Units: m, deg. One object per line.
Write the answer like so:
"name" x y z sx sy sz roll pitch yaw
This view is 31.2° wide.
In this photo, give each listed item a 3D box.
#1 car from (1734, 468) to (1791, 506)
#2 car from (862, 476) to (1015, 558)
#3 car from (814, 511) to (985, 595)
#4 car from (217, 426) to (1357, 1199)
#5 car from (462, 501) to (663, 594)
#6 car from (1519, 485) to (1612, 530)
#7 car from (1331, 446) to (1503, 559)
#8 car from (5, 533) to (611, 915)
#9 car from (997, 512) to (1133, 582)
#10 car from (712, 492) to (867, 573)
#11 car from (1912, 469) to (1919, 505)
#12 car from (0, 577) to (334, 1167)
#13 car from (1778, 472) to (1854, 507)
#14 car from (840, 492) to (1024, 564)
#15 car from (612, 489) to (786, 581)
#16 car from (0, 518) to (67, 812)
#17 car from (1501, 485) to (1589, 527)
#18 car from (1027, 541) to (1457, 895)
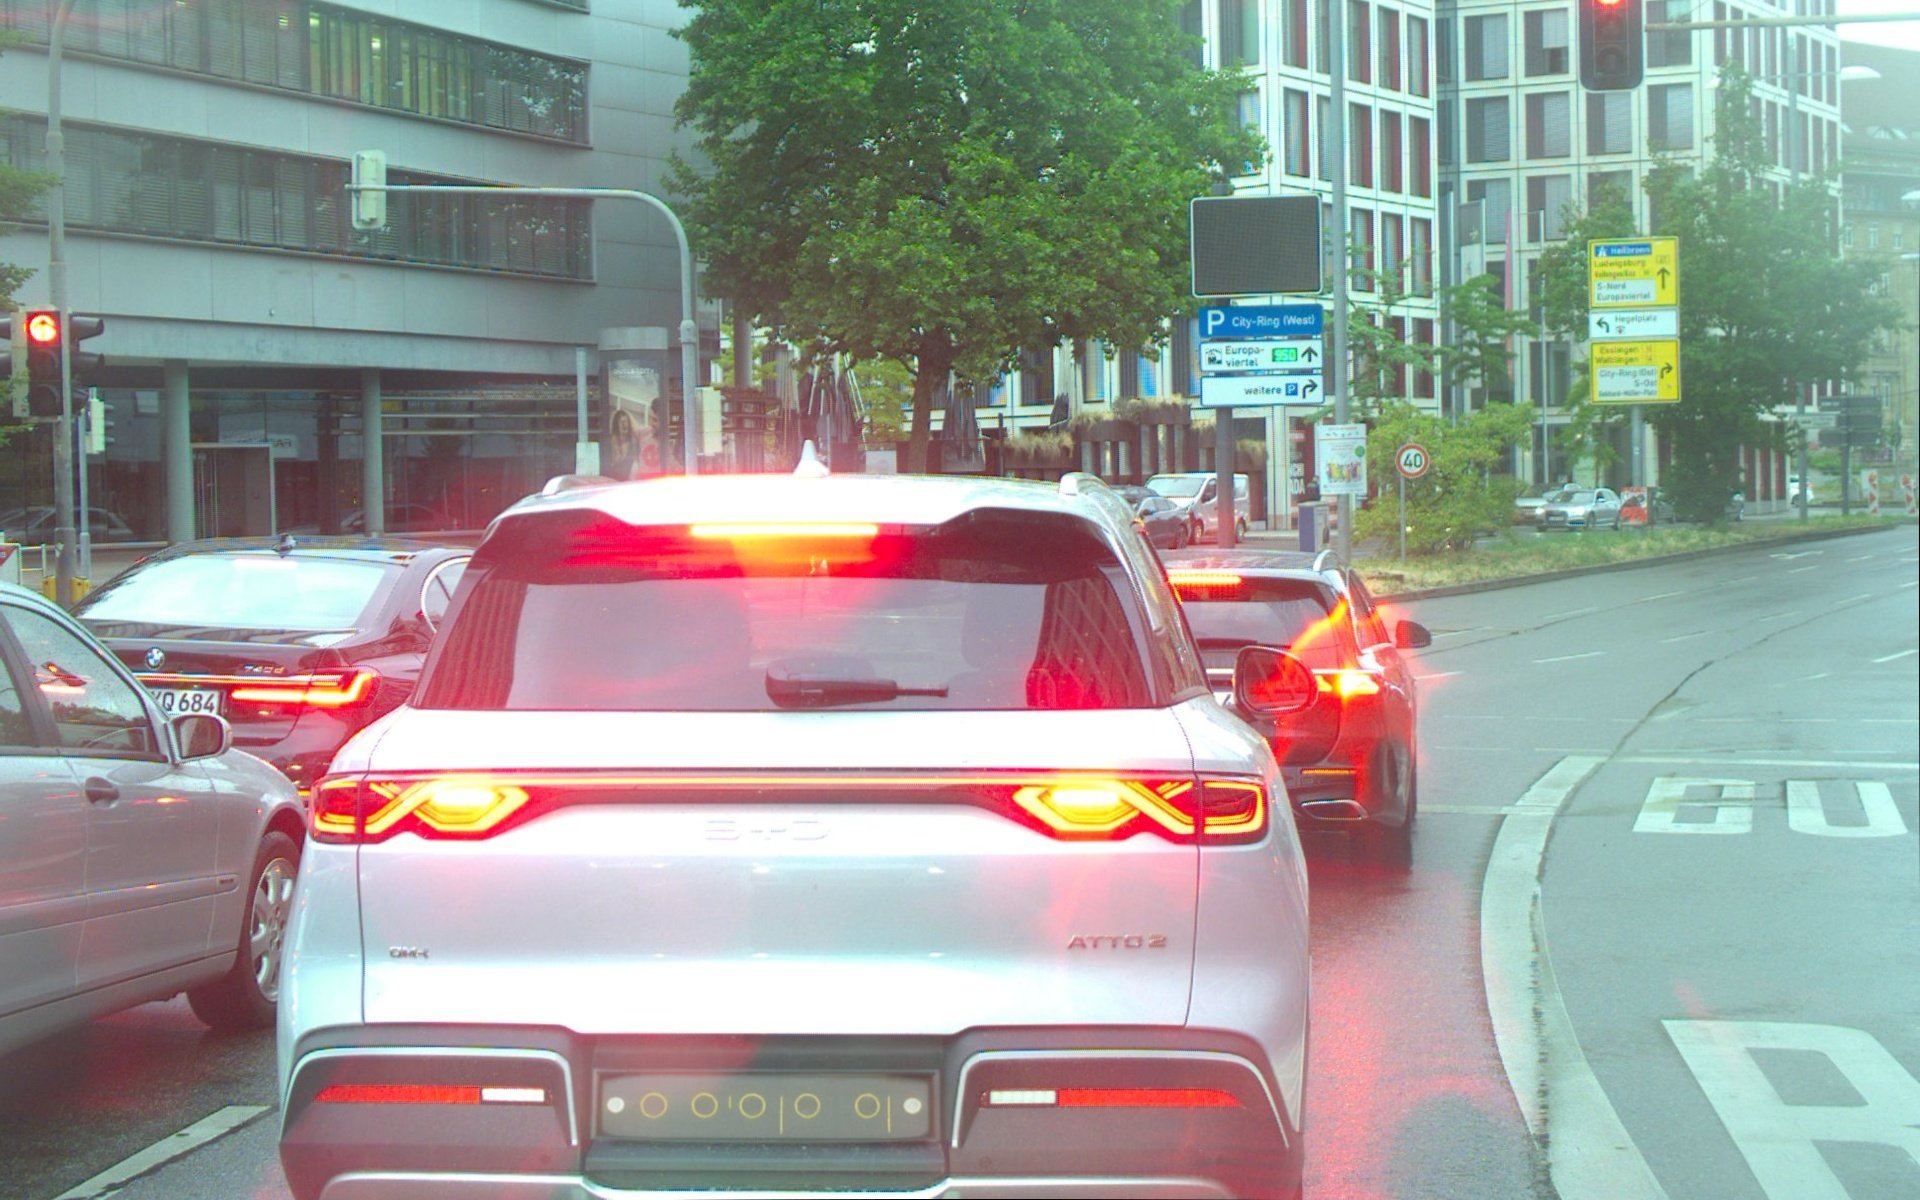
"car" 38.187 -5.368 163.477 1.609 1.735 3.439 1 1 32
"car" -0.400 -1.651 68.322 1.645 1.575 4.081 1 1 21
"car" -0.991 -0.795 58.840 1.692 1.380 3.865 1 1 19
"car" -0.227 0.555 7.387 1.776 1.673 4.000 1 1 2
"car" -7.103 -0.959 61.766 1.995 1.605 3.996 1 1 20
"car" 20.432 -3.130 115.954 1.996 1.483 3.994 0 2 27
"car" 8.677 -1.807 64.956 1.996 2.007 4.843 1 1 23
"car" -2.785 0.468 15.573 1.571 1.481 3.999 1 1 7
"car" 2.526 -1.274 81.251 1.633 1.553 4.588 0 2 23
"car" -3.411 -1.354 69.364 1.640 1.565 3.714 1 1 23
"car" 56.914 -6.491 197.746 3.991 2.007 1.998 1 1 20
"car" -3.017 0.650 8.885 1.571 1.402 4.108 1 1 7
"car" 48.989 -6.335 196.807 3.991 2.007 1.998 1 1 20
"car" -0.564 -1.594 75.123 1.816 1.505 5.188 0 2 27
"car" -4.468 -1.128 59.425 1.645 1.530 4.149 1 1 16
"car" -5.873 0.326 16.271 1.707 1.481 3.998 1 1 9
"car" 20.952 -3.367 123.007 1.996 1.483 3.994 0 2 27
"car" 1.477 0.480 16.633 1.694 1.481 3.998 1 1 10
